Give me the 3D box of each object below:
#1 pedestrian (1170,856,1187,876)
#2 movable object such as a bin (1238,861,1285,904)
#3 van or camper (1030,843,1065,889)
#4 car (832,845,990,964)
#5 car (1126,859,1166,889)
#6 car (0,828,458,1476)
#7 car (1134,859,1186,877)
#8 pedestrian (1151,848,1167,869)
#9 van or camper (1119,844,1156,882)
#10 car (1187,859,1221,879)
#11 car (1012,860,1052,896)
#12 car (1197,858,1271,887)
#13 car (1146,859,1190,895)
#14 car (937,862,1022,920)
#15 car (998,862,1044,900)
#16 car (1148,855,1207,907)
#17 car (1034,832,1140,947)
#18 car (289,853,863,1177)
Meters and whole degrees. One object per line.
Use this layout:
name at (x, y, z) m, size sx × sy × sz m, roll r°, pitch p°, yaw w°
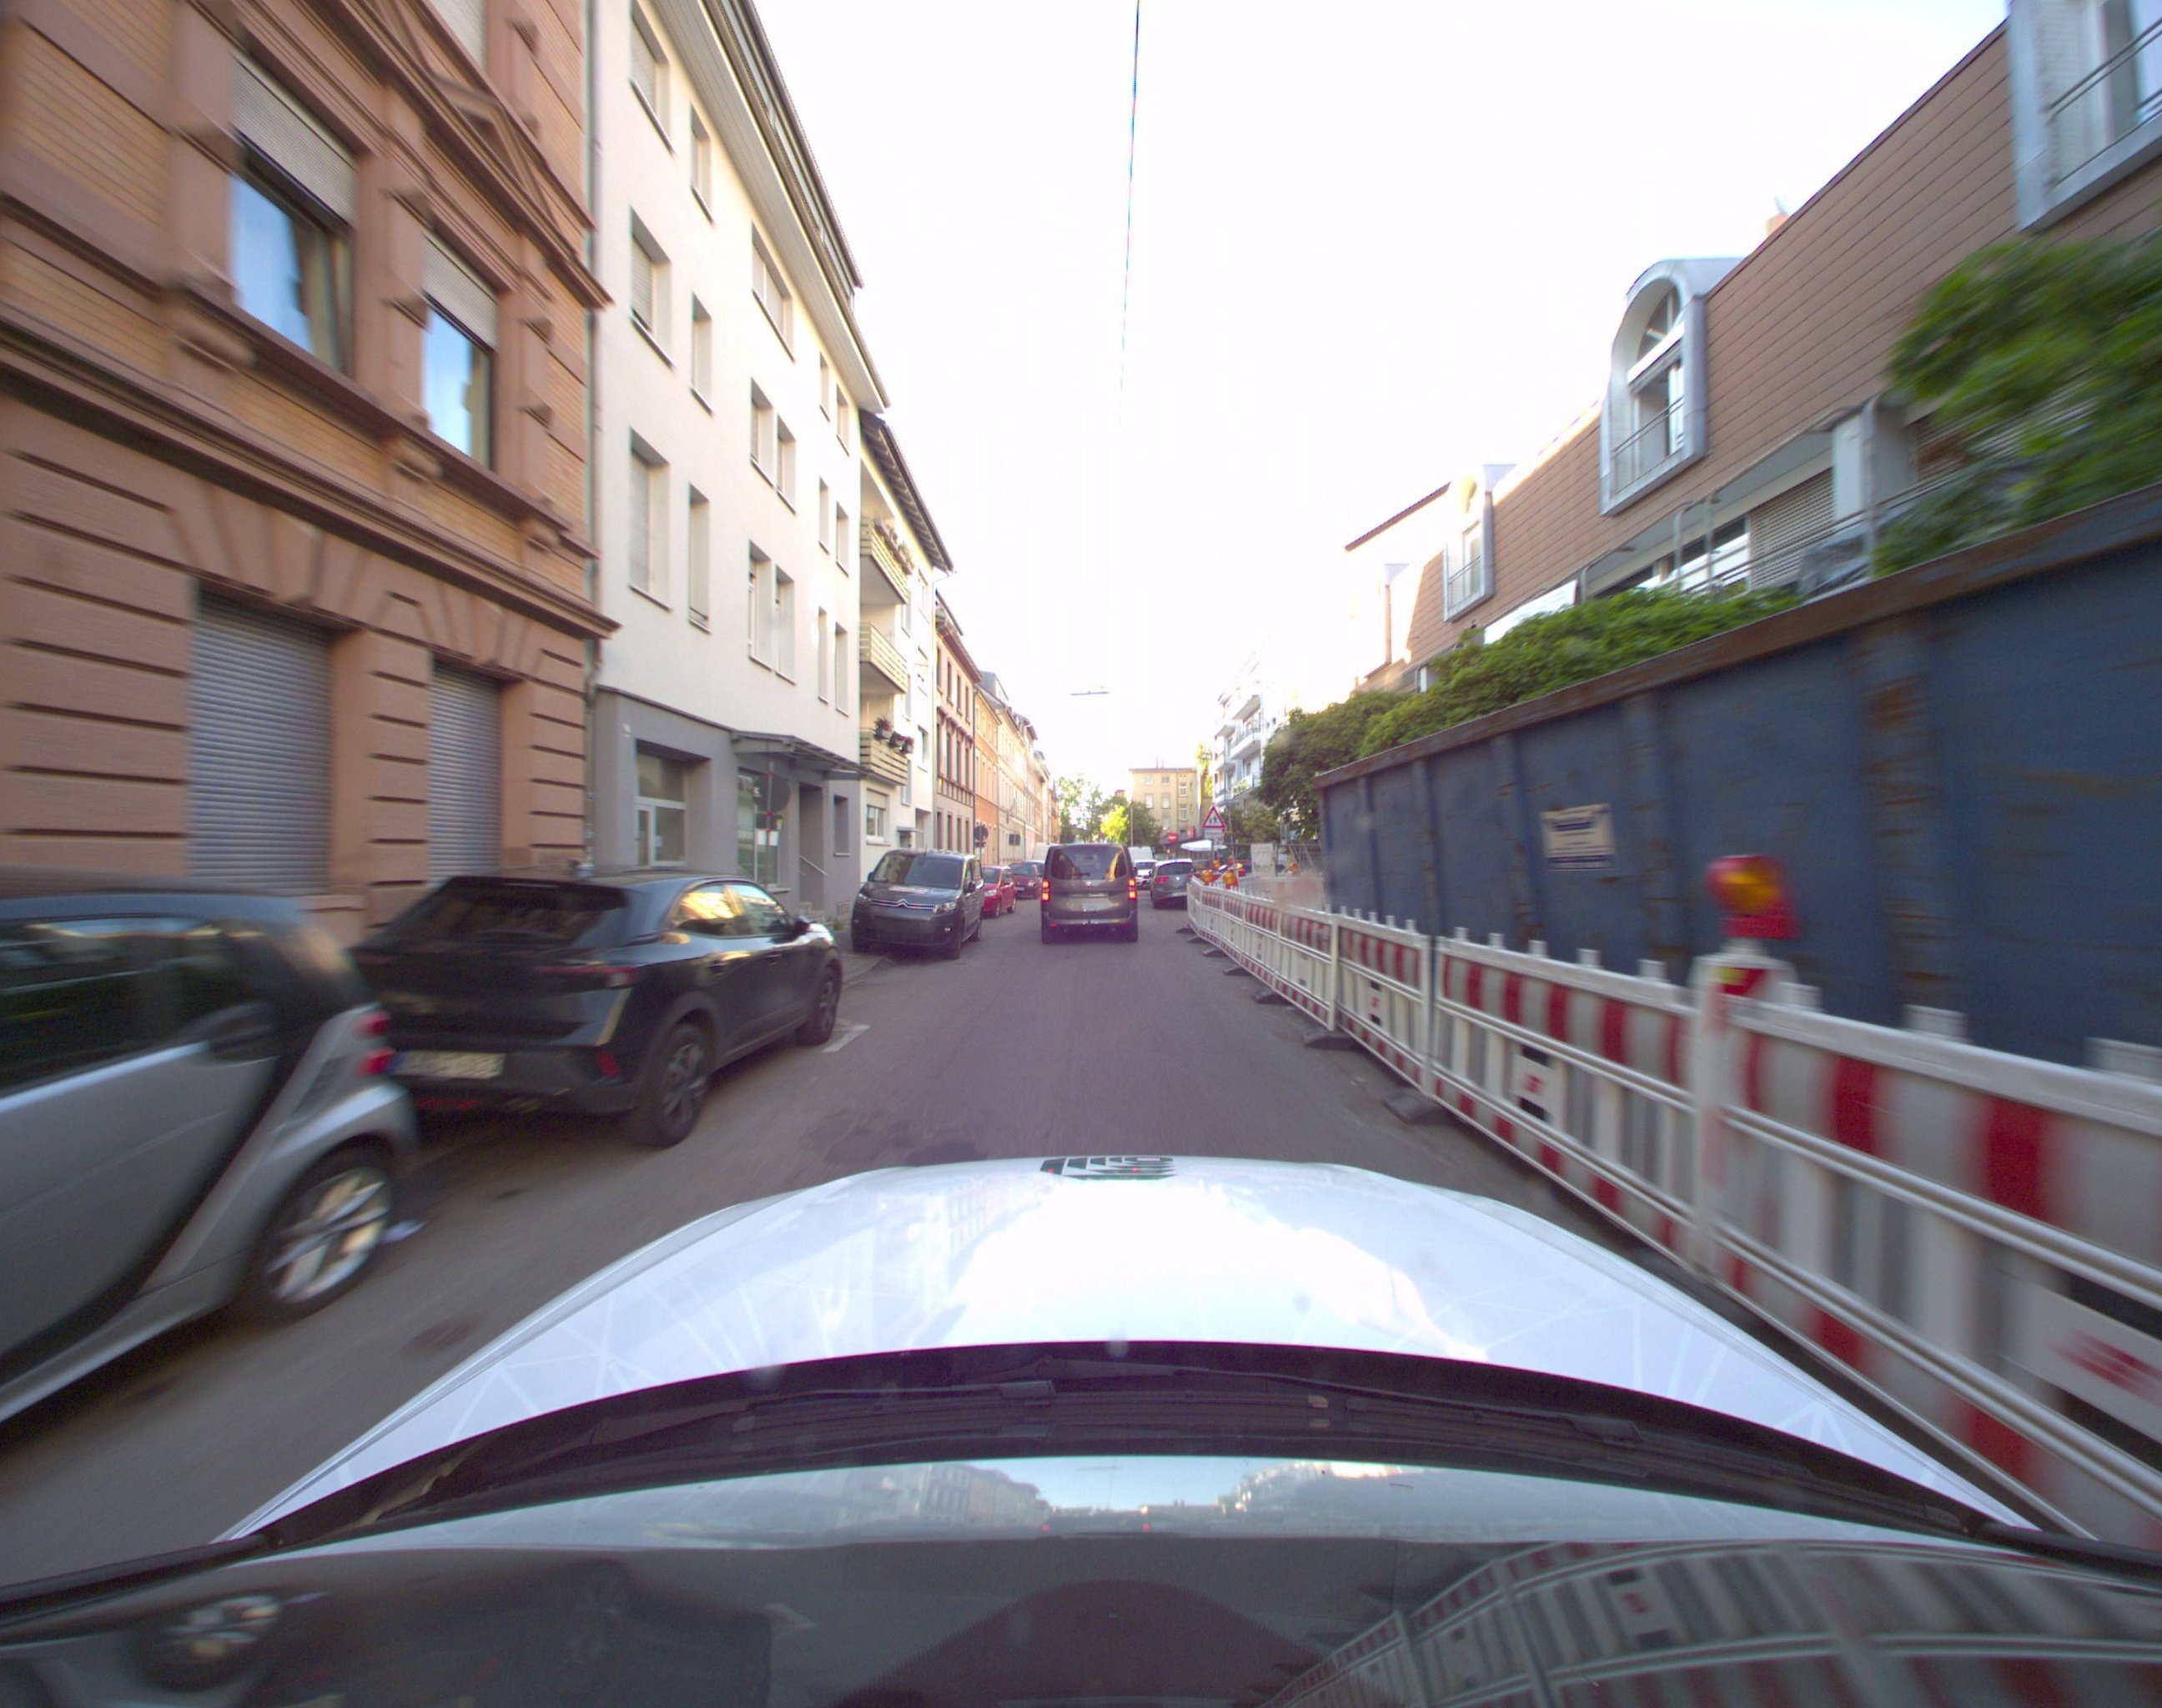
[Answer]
pedestrian at (8.434, 1.062, 70.621) m, size 0.939 × 1.720 × 1.052 m, roll -1°, pitch -1°, yaw -34°
movable object such as a bin at (5.937, 0.945, 26.793) m, size 1.256 × 1.376 × 0.795 m, roll 1°, pitch -1°, yaw -25°
van or camper at (-2.051, 0.726, 51.519) m, size 1.943 × 2.649 × 7.137 m, roll -2°, pitch -1°, yaw -1°
car at (-2.926, 0.800, 15.068) m, size 1.987 × 1.859 × 4.583 m, roll 0°, pitch 0°, yaw -1°
car at (3.585, 1.080, 45.656) m, size 1.718 × 1.612 × 4.585 m, roll 0°, pitch -1°, yaw -2°
car at (-3.345, 0.719, 1.995) m, size 1.391 × 1.588 × 2.793 m, roll 2°, pitch -1°, yaw 0°
car at (7.309, 1.298, 75.852) m, size 4.610 × 1.466 × 1.841 m, roll -3°, pitch 0°, yaw 0°
pedestrian at (6.009, 0.343, 62.655) m, size 0.874 × 1.556 × 0.869 m, roll -3°, pitch 0°, yaw -21°
van or camper at (4.202, 0.679, 61.691) m, size 2.093 × 2.602 × 7.509 m, roll -1°, pitch 0°, yaw -1°
car at (8.882, 1.066, 58.784) m, size 1.585 × 1.416 × 3.247 m, roll -1°, pitch -1°, yaw 24°
car at (-2.375, 1.129, 40.051) m, size 1.706 × 1.644 × 3.978 m, roll 2°, pitch 0°, yaw -1°
car at (8.706, 1.038, 46.484) m, size 3.883 × 1.607 × 1.694 m, roll 1°, pitch -1°, yaw -1°
car at (3.944, 1.030, 37.486) m, size 1.614 × 1.486 × 4.125 m, roll -2°, pitch 0°, yaw 1°
car at (-2.944, 1.035, 24.386) m, size 1.660 × 1.485 × 3.611 m, roll 5°, pitch 0°, yaw 6°
car at (-2.514, 1.114, 34.761) m, size 1.652 × 1.448 × 3.285 m, roll 3°, pitch -1°, yaw 0°
car at (3.295, 0.879, 28.414) m, size 1.742 × 1.683 × 4.528 m, roll 0°, pitch 0°, yaw 3°
car at (0.119, 0.647, 16.800) m, size 1.852 × 2.013 × 3.999 m, roll -2°, pitch 0°, yaw 0°
car at (-3.036, 0.810, 6.052) m, size 1.734 × 1.599 × 4.014 m, roll 0°, pitch 0°, yaw 0°
